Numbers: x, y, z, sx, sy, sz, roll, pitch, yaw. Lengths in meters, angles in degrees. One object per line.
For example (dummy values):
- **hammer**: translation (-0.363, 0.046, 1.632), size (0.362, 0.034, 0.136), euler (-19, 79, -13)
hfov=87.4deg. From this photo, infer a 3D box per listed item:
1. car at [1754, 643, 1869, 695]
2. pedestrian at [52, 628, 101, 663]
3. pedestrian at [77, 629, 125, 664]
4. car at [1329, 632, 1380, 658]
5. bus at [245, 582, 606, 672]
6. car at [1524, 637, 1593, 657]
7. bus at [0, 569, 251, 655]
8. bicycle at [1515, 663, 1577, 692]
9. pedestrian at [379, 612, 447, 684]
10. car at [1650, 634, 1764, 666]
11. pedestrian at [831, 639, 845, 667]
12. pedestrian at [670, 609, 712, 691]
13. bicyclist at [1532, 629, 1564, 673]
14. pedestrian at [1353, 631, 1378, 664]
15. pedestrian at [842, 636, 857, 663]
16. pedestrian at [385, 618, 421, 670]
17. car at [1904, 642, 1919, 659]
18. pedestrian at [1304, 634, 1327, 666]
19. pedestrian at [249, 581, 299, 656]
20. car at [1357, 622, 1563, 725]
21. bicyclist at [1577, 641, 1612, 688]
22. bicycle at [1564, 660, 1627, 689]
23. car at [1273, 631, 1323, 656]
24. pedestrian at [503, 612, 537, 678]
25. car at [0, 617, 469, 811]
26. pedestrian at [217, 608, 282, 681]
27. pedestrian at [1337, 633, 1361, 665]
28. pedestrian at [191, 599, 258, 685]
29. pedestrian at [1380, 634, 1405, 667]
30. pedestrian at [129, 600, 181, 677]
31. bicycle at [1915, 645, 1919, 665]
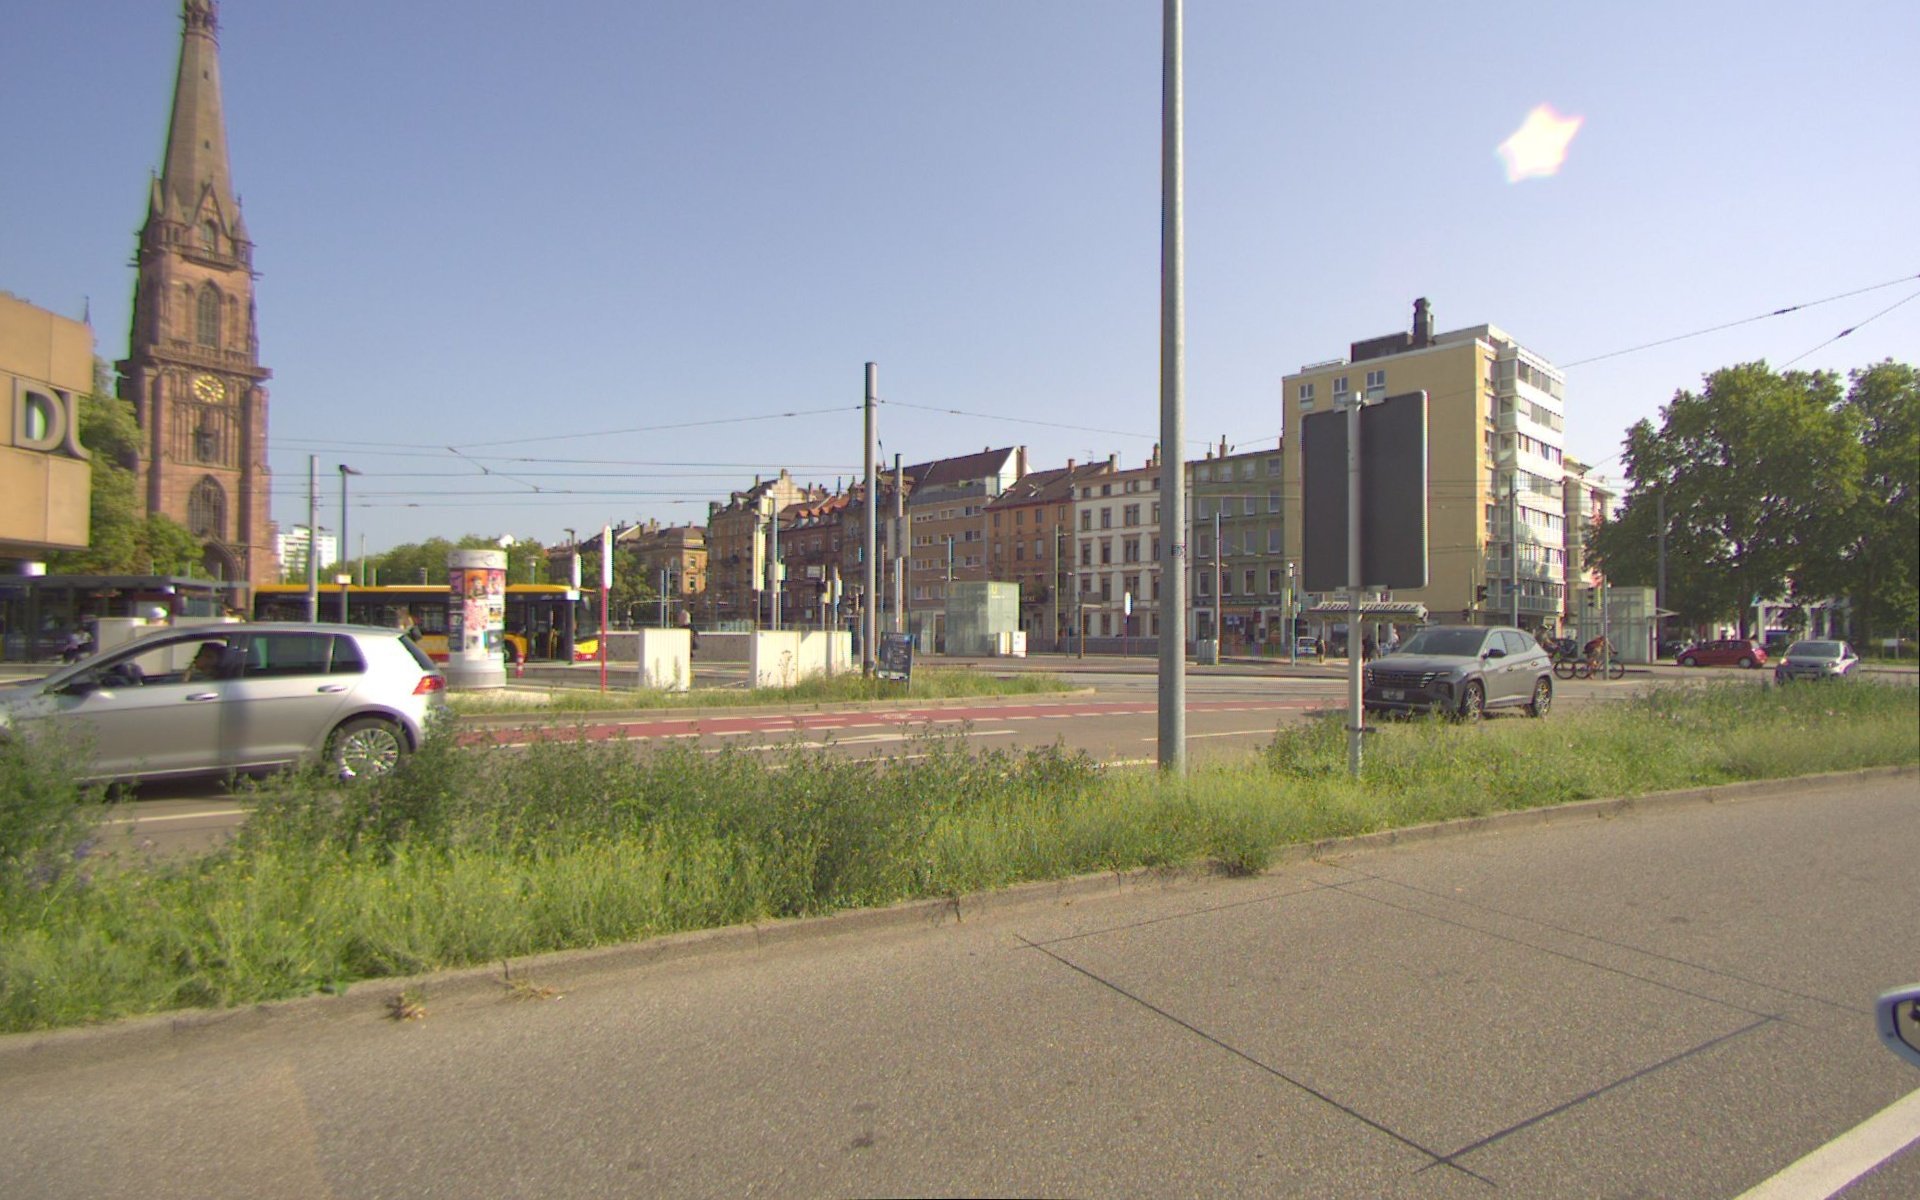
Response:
- **car**: translation (26.008, 2.046, 30.650), size (3.640, 1.471, 1.876), euler (2, -2, -36)
- **pedestrian**: translation (-29.070, 1.496, 33.064), size (0.724, 1.148, 1.029), euler (1, -2, -7)
- **pedestrian**: translation (-28.219, 1.524, 33.012), size (0.724, 1.148, 1.029), euler (1, -2, -7)
- **car**: translation (27.542, 3.119, 70.287), size (1.960, 1.700, 4.552), euler (1, -2, 2)
- **bus**: translation (-19.713, 1.020, 37.504), size (11.972, 3.149, 2.717), euler (0, -2, 1)
- **car**: translation (43.303, 3.366, 72.721), size (4.114, 1.372, 1.472), euler (-1, -2, 45)
- **bus**: translation (-33.827, 0.459, 37.381), size (12.543, 3.017, 3.300), euler (0, -2, 1)
- **bicycle**: translation (20.985, 2.756, 35.998), size (0.720, 0.944, 1.799), euler (2, -2, -38)
- **pedestrian**: translation (-12.245, 1.067, 22.501), size (0.970, 1.579, 0.866), euler (0, -2, 7)
- **car**: translation (38.042, 2.497, 51.226), size (1.816, 1.555, 4.362), euler (2, -3, -40)
- **pedestrian**: translation (-8.116, 3.522, 66.820), size (0.645, 1.891, 0.716), euler (1, -2, -30)
- **pedestrian**: translation (-6.156, 1.131, 22.975), size (0.694, 1.824, 0.773), euler (2, -2, -35)
- **bicyclist**: translation (21.040, 1.813, 35.953), size (0.720, 1.547, 0.788), euler (1, -2, -38)
- **pedestrian**: translation (21.584, 2.537, 53.460), size (0.916, 1.712, 0.913), euler (2, -2, -44)
- **pedestrian**: translation (-7.409, 3.326, 67.243), size (0.743, 1.806, 0.702), euler (1, -2, -30)
- **pedestrian**: translation (-19.300, 1.528, 34.831), size (0.821, 1.761, 0.829), euler (1, -2, -10)
- **car**: translation (88.878, 4.631, 91.274), size (4.424, 1.542, 1.706), euler (1, -1, 4)
- **pedestrian**: translation (19.430, 2.720, 54.879), size (0.916, 1.712, 0.913), euler (2, -2, -44)
- **pedestrian**: translation (-16.140, 0.449, 23.640), size (0.859, 1.727, 0.978), euler (2, -2, -40)
- **car**: translation (9.085, 1.252, 18.101), size (4.424, 1.638, 1.680), euler (2, -2, -39)
- **bicyclist**: translation (22.750, 2.300, 36.011), size (0.720, 1.674, 0.874), euler (1, -2, -38)
- **bicycle**: translation (22.761, 2.657, 35.994), size (0.720, 0.944, 1.799), euler (2, -2, -38)
- **car**: translation (24.870, 3.192, 74.049), size (1.961, 1.700, 4.550), euler (1, -2, -2)
- **pedestrian**: translation (-12.308, 1.254, 28.091), size (0.694, 1.824, 0.773), euler (2, -2, -35)
- **car**: translation (-6.803, 0.909, 8.929), size (4.181, 1.452, 1.803), euler (2, -2, -34)
- **pedestrian**: translation (-15.898, 0.998, 22.501), size (0.851, 1.583, 0.987), euler (1, -2, -14)
- **pedestrian**: translation (21.060, 2.635, 54.434), size (0.916, 1.712, 0.913), euler (2, -2, -44)
- **pedestrian**: translation (-15.715, 0.893, 21.495), size (0.852, 1.793, 0.986), euler (1, -2, -18)
- **pedestrian**: translation (22.499, 2.614, 52.294), size (0.916, 1.712, 0.913), euler (2, -2, -44)
- **pedestrian**: translation (-18.202, 0.869, 22.711), size (0.859, 1.694, 0.978), euler (2, -2, -40)
- **bicycle**: translation (51.942, 2.894, 52.701), size (0.953, 1.071, 2.577), euler (2, -3, -41)
